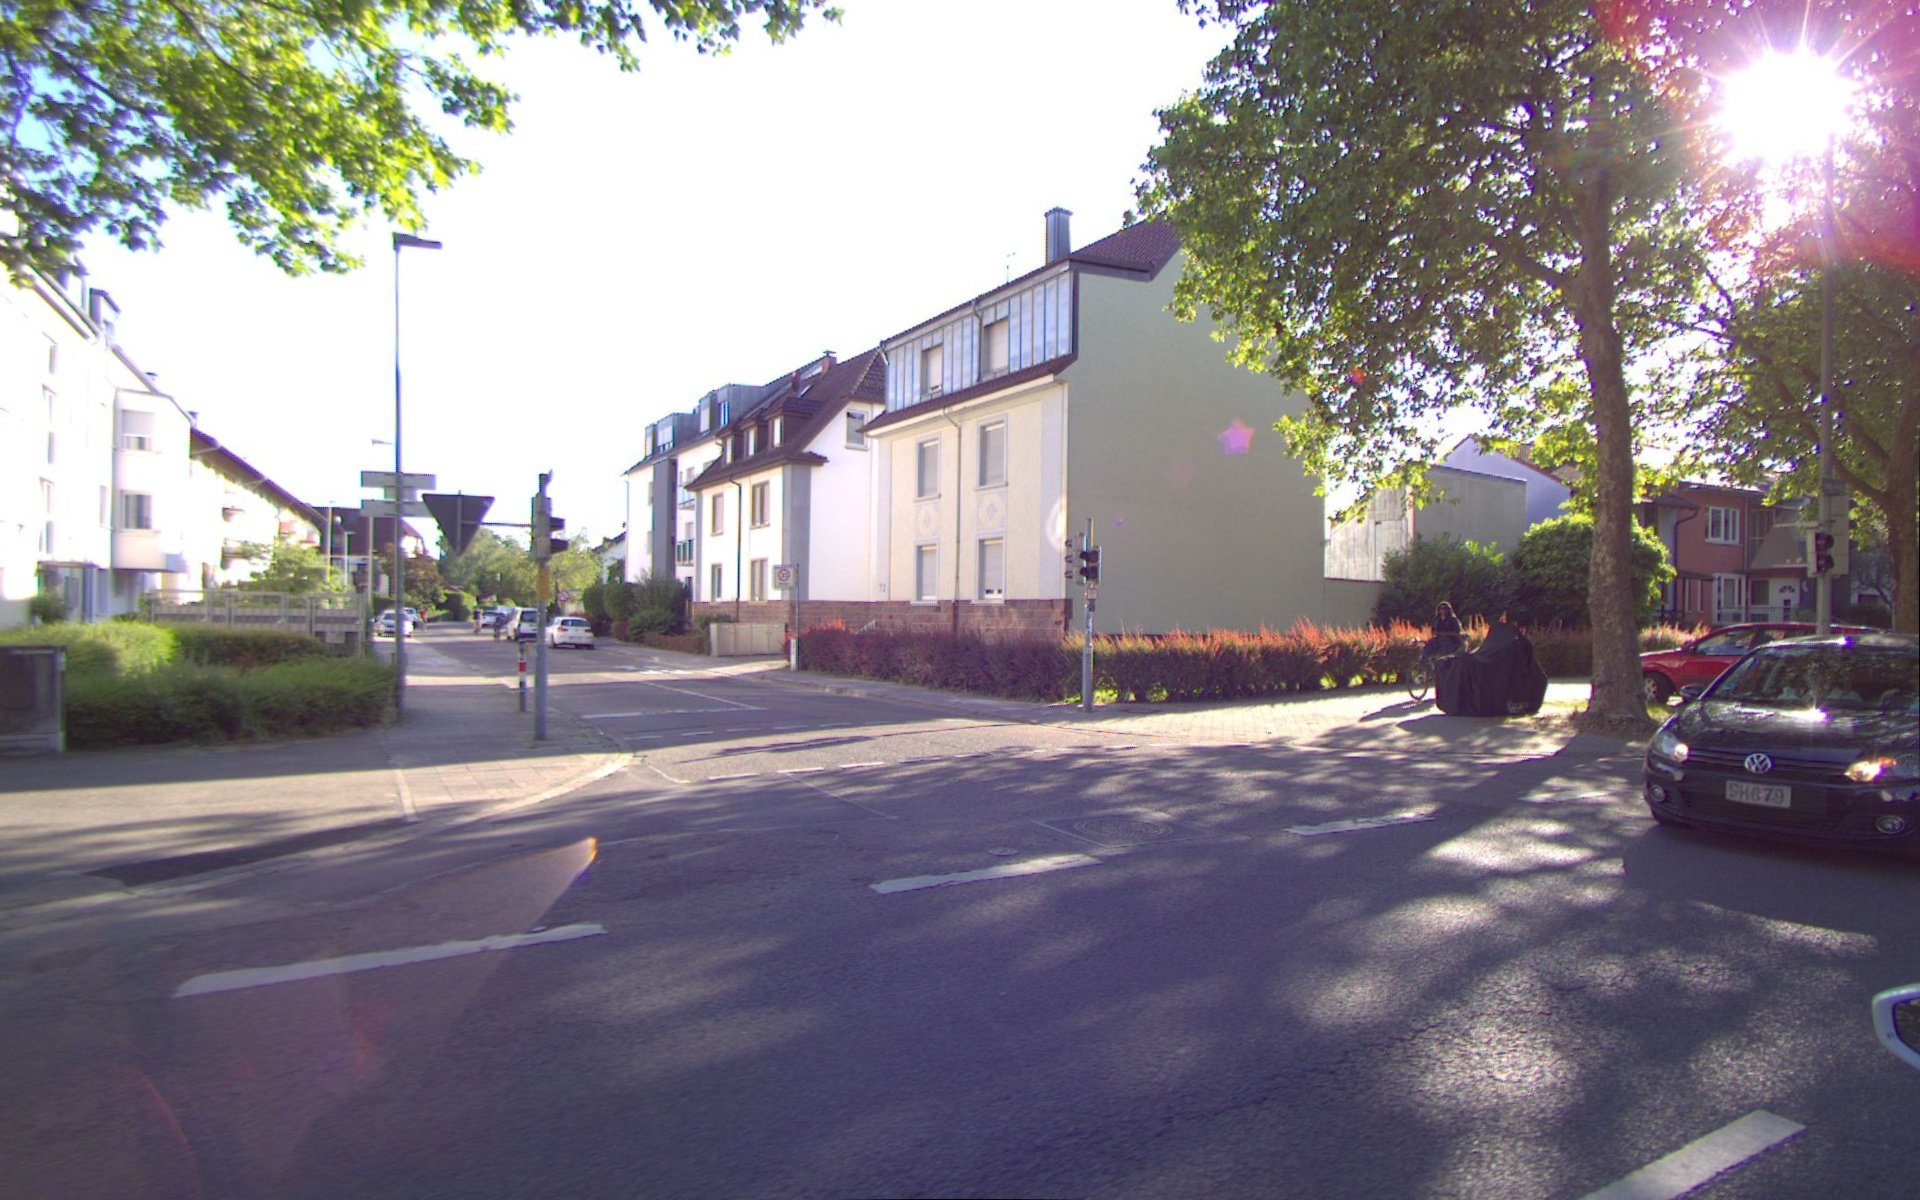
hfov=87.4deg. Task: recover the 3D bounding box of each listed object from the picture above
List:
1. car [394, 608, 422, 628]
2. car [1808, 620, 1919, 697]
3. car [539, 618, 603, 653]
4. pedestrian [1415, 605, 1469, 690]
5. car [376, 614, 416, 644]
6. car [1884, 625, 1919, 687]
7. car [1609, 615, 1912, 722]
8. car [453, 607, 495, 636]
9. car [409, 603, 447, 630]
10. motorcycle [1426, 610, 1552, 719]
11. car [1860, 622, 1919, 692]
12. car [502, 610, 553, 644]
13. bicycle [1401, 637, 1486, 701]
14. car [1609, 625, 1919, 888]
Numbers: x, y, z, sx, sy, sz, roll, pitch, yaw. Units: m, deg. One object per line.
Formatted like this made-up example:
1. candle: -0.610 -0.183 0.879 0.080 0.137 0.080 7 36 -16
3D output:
1. car: -47.695 1.510 86.771 1.977 1.692 3.967 1 -1 -31
2. car: 20.308 1.248 21.192 1.676 1.499 3.323 1 0 -30
3. car: -17.854 1.579 45.995 1.978 1.506 3.964 1 -1 -33
4. pedestrian: 9.110 0.875 18.979 1.024 1.552 0.505 0 0 -36
5. car: -33.504 1.690 59.590 1.977 1.692 3.967 1 -1 -31
6. car: 24.668 1.393 23.808 1.733 1.503 3.742 1 0 -29
7. car: 13.807 1.102 17.541 1.811 1.555 3.745 1 0 -31
8. car: -31.489 1.356 65.040 1.978 1.792 3.964 1 -1 -33
9. car: -36.654 1.153 69.173 1.978 1.792 3.964 1 -1 -33
10. motorcycle: 8.883 1.015 16.829 2.367 1.660 0.972 -1 0 -37
11. car: 22.609 1.323 21.852 1.854 1.521 4.140 1 0 -31
12. car: -23.876 1.445 55.400 1.978 1.792 3.964 1 -1 -33
13. bicycle: 9.168 1.277 19.005 2.132 1.056 0.505 -2 1 -36
14. car: 6.759 0.964 7.540 4.025 1.483 1.716 2 -1 -33
